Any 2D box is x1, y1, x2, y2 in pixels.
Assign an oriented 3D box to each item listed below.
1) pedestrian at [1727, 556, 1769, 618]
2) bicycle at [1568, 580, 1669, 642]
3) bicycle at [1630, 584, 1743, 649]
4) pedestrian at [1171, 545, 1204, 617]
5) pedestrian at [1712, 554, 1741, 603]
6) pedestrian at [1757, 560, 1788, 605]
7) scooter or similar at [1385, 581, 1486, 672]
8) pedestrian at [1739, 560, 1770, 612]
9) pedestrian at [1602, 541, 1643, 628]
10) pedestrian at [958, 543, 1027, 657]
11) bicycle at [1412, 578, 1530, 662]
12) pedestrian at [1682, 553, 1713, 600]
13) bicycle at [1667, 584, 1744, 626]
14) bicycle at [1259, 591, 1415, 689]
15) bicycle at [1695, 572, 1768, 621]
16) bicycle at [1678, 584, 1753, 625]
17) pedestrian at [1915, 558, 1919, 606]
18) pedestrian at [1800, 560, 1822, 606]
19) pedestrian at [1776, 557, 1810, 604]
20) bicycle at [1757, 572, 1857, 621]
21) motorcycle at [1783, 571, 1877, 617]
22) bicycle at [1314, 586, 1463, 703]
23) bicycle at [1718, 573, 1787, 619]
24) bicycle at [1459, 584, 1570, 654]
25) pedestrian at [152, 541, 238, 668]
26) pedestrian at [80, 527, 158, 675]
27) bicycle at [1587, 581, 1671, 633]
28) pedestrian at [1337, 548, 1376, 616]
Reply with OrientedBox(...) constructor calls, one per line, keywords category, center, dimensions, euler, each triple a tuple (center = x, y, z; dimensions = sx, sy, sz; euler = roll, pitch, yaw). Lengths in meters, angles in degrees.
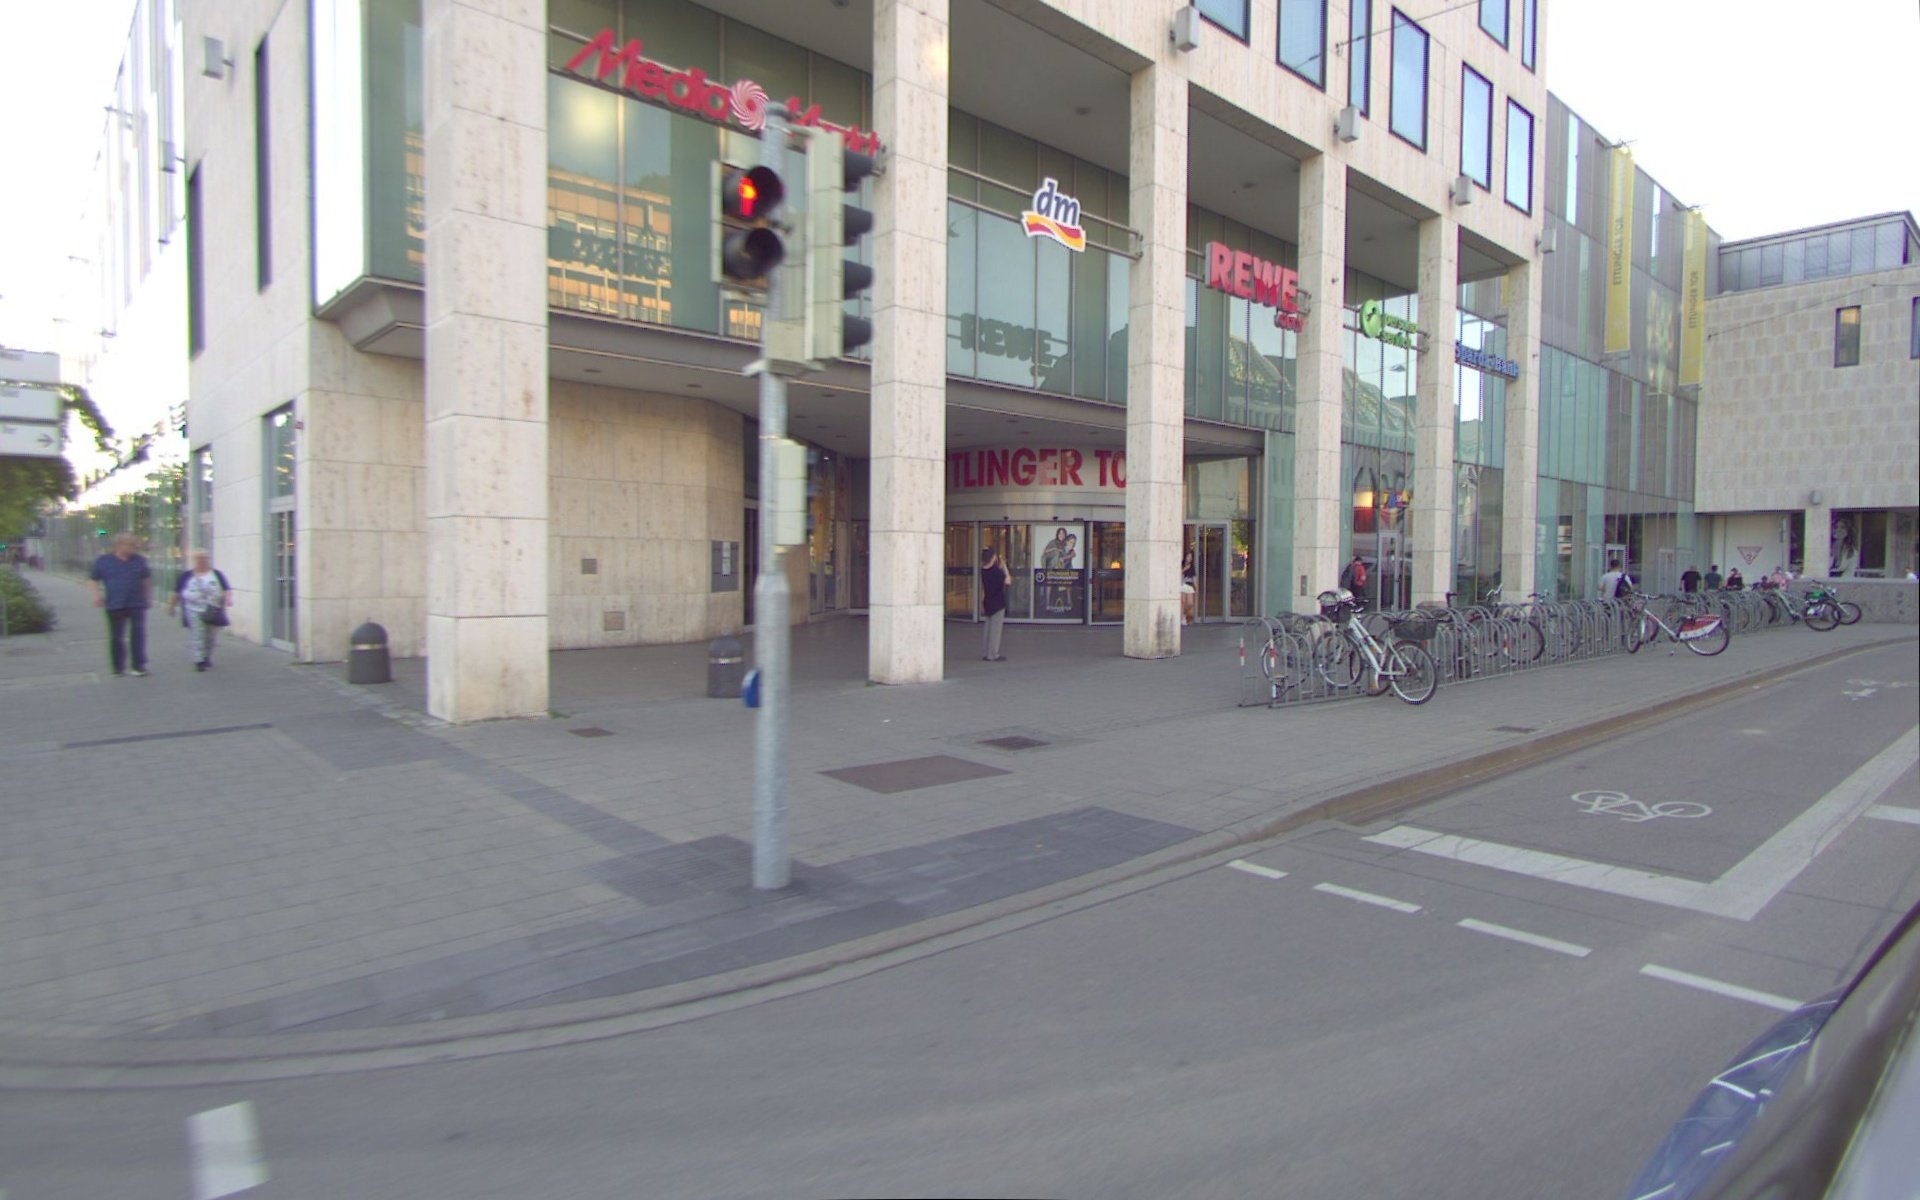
OrientedBox(category="pedestrian", center=(21.745, -0.370, 27.933), dimensions=(0.801, 1.663, 0.640), euler=(1, 2, 31))
OrientedBox(category="bicycle", center=(12.673, 0.199, 19.508), dimensions=(0.570, 1.138, 1.519), euler=(-1, 0, -37))
OrientedBox(category="bicycle", center=(12.555, 0.269, 17.520), dimensions=(0.458, 1.076, 1.518), euler=(-1, 0, -39))
OrientedBox(category="pedestrian", center=(5.334, -0.457, 23.793), dimensions=(0.618, 1.672, 0.708), euler=(0, 2, 2))
OrientedBox(category="pedestrian", center=(27.160, -0.767, 35.851), dimensions=(0.807, 1.717, 0.697), euler=(-2, 3, -45))
OrientedBox(category="pedestrian", center=(32.033, -0.692, 39.917), dimensions=(0.644, 1.765, 0.794), euler=(-1, 2, -38))
OrientedBox(category="scooter or similar", center=(6.781, 0.355, 14.466), dimensions=(0.485, 1.214, 1.194), euler=(-1, 3, -44))
OrientedBox(category="pedestrian", center=(27.652, -0.504, 35.224), dimensions=(0.798, 1.802, 0.619), euler=(-1, 2, -38))
OrientedBox(category="pedestrian", center=(13.343, -0.333, 20.392), dimensions=(0.625, 1.713, 0.700), euler=(1, 2, 32))
OrientedBox(category="pedestrian", center=(0.489, -0.020, 15.317), dimensions=(0.696, 1.658, 0.792), euler=(-1, 2, -42))
OrientedBox(category="bicycle", center=(7.991, 0.298, 15.858), dimensions=(0.607, 1.243, 1.517), euler=(-1, 0, -41))
OrientedBox(category="pedestrian", center=(26.526, -0.851, 36.399), dimensions=(0.807, 1.668, 0.739), euler=(-2, 3, -44))
OrientedBox(category="bicycle", center=(17.235, 0.109, 23.411), dimensions=(0.509, 0.944, 1.344), euler=(-1, 0, -41))
OrientedBox(category="bicycle", center=(4.685, 0.463, 12.663), dimensions=(1.768, 1.091, 0.475), euler=(3, 3, 43))
OrientedBox(category="bicycle", center=(19.118, -0.077, 25.099), dimensions=(0.509, 1.178, 1.344), euler=(-1, 0, -41))
OrientedBox(category="bicycle", center=(17.746, 0.102, 23.790), dimensions=(0.509, 0.944, 1.344), euler=(-1, 0, -41))
OrientedBox(category="pedestrian", center=(35.833, -0.674, 37.508), dimensions=(0.484, 1.765, 0.517), euler=(-1, 2, -38))
OrientedBox(category="pedestrian", center=(32.976, -0.651, 39.194), dimensions=(0.645, 1.765, 0.494), euler=(-1, 2, -38))
OrientedBox(category="pedestrian", center=(31.919, -0.763, 38.763), dimensions=(0.924, 1.765, 0.794), euler=(-1, 2, -38))
OrientedBox(category="bicycle", center=(20.852, -0.073, 24.950), dimensions=(0.458, 1.161, 1.837), euler=(-1, 0, -39))
OrientedBox(category="motorcycle", center=(24.931, -0.191, 29.034), dimensions=(0.473, 1.239, 2.004), euler=(-1, 3, -43))
OrientedBox(category="bicycle", center=(4.863, 0.470, 11.565), dimensions=(0.538, 1.198, 1.485), euler=(-1, 3, -35))
OrientedBox(category="bicycle", center=(20.679, -0.109, 26.425), dimensions=(0.509, 1.178, 1.344), euler=(-1, 0, -41))
OrientedBox(category="bicycle", center=(9.222, 0.308, 16.864), dimensions=(0.543, 1.120, 1.516), euler=(-1, 0, -43))
OrientedBox(category="pedestrian", center=(-9.774, 0.036, 12.938), dimensions=(0.665, 1.565, 0.716), euler=(2, 2, 38))
OrientedBox(category="pedestrian", center=(-10.274, -0.010, 12.371), dimensions=(0.665, 1.746, 0.582), euler=(2, 2, 38))
OrientedBox(category="bicycle", center=(14.304, 0.152, 21.650), dimensions=(1.439, 1.078, 0.572), euler=(-1, 0, 39))
OrientedBox(category="pedestrian", center=(9.933, -0.471, 25.335), dimensions=(0.695, 1.672, 0.629), euler=(-1, 2, -40))
